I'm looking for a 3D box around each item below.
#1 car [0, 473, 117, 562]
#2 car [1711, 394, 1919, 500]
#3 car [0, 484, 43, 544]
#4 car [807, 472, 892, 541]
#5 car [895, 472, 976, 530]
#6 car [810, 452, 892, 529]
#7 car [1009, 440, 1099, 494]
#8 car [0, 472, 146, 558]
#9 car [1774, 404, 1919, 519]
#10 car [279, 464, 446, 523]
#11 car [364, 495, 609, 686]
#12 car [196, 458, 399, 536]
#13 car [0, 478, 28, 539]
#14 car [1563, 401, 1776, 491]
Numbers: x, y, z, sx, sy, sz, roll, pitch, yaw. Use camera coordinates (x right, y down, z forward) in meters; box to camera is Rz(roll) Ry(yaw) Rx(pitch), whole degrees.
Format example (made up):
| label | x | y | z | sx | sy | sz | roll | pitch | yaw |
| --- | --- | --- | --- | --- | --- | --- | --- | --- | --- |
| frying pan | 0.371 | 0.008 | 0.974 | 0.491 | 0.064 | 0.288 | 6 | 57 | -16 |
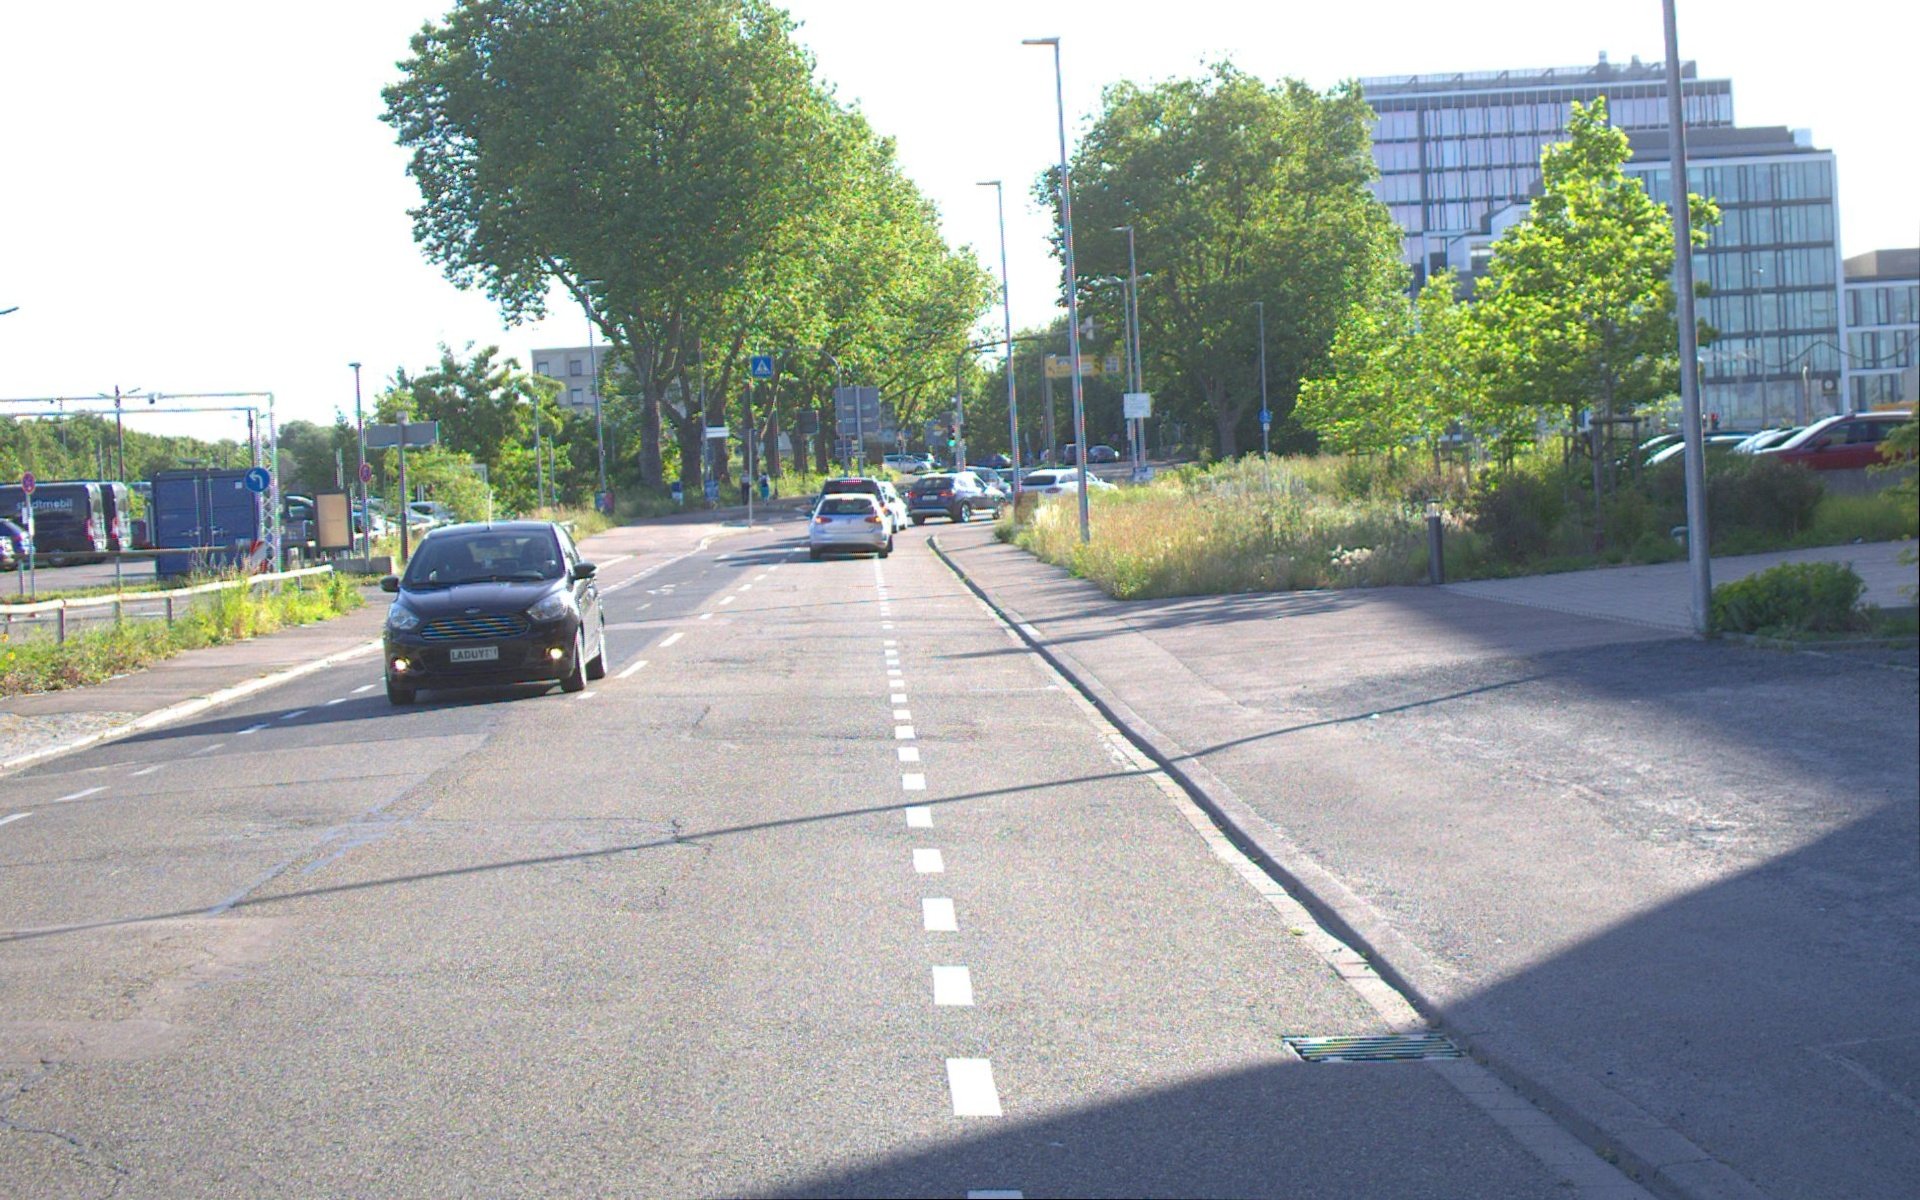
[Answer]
| label | x | y | z | sx | sy | sz | roll | pitch | yaw |
| --- | --- | --- | --- | --- | --- | --- | --- | --- | --- |
| car | -27.776 | -2.406 | 101.913 | 4.926 | 2.451 | 2.320 | -3 | 2 | -2 |
| car | 14.587 | -2.510 | 56.268 | 4.184 | 1.575 | 1.851 | -2 | 1 | 2 |
| car | -28.200 | -2.375 | 96.847 | 4.207 | 1.612 | 1.879 | -2 | 3 | -2 |
| car | -2.462 | -2.125 | 77.287 | 1.790 | 1.415 | 4.001 | -2 | 3 | -1 |
| car | -0.749 | -3.114 | 107.439 | 2.164 | 1.678 | 4.000 | -3 | 2 | 4 |
| car | -2.609 | -2.682 | 83.303 | 1.819 | 1.762 | 4.630 | -2 | 3 | 0 |
| car | 3.123 | -4.379 | 113.826 | 2.165 | 1.678 | 3.998 | -1 | 1 | 14 |
| car | -27.611 | -2.573 | 104.605 | 5.096 | 2.451 | 2.320 | -2 | 3 | -2 |
| car | 13.989 | -2.028 | 49.320 | 4.184 | 1.575 | 1.852 | -2 | 2 | 2 |
| car | -17.356 | -3.111 | 100.007 | 4.542 | 1.552 | 1.879 | -2 | 3 | -2 |
| car | -4.148 | -0.132 | 30.636 | 1.654 | 1.498 | 4.001 | -3 | 2 | -2 |
| car | -17.089 | -2.673 | 88.814 | 4.845 | 1.828 | 2.000 | -2 | 3 | -2 |
| car | -27.988 | -2.462 | 94.296 | 4.321 | 1.612 | 1.879 | -2 | 3 | -2 |
| car | 14.480 | -3.147 | 70.351 | 3.987 | 1.700 | 1.852 | -2 | 2 | 2 |
